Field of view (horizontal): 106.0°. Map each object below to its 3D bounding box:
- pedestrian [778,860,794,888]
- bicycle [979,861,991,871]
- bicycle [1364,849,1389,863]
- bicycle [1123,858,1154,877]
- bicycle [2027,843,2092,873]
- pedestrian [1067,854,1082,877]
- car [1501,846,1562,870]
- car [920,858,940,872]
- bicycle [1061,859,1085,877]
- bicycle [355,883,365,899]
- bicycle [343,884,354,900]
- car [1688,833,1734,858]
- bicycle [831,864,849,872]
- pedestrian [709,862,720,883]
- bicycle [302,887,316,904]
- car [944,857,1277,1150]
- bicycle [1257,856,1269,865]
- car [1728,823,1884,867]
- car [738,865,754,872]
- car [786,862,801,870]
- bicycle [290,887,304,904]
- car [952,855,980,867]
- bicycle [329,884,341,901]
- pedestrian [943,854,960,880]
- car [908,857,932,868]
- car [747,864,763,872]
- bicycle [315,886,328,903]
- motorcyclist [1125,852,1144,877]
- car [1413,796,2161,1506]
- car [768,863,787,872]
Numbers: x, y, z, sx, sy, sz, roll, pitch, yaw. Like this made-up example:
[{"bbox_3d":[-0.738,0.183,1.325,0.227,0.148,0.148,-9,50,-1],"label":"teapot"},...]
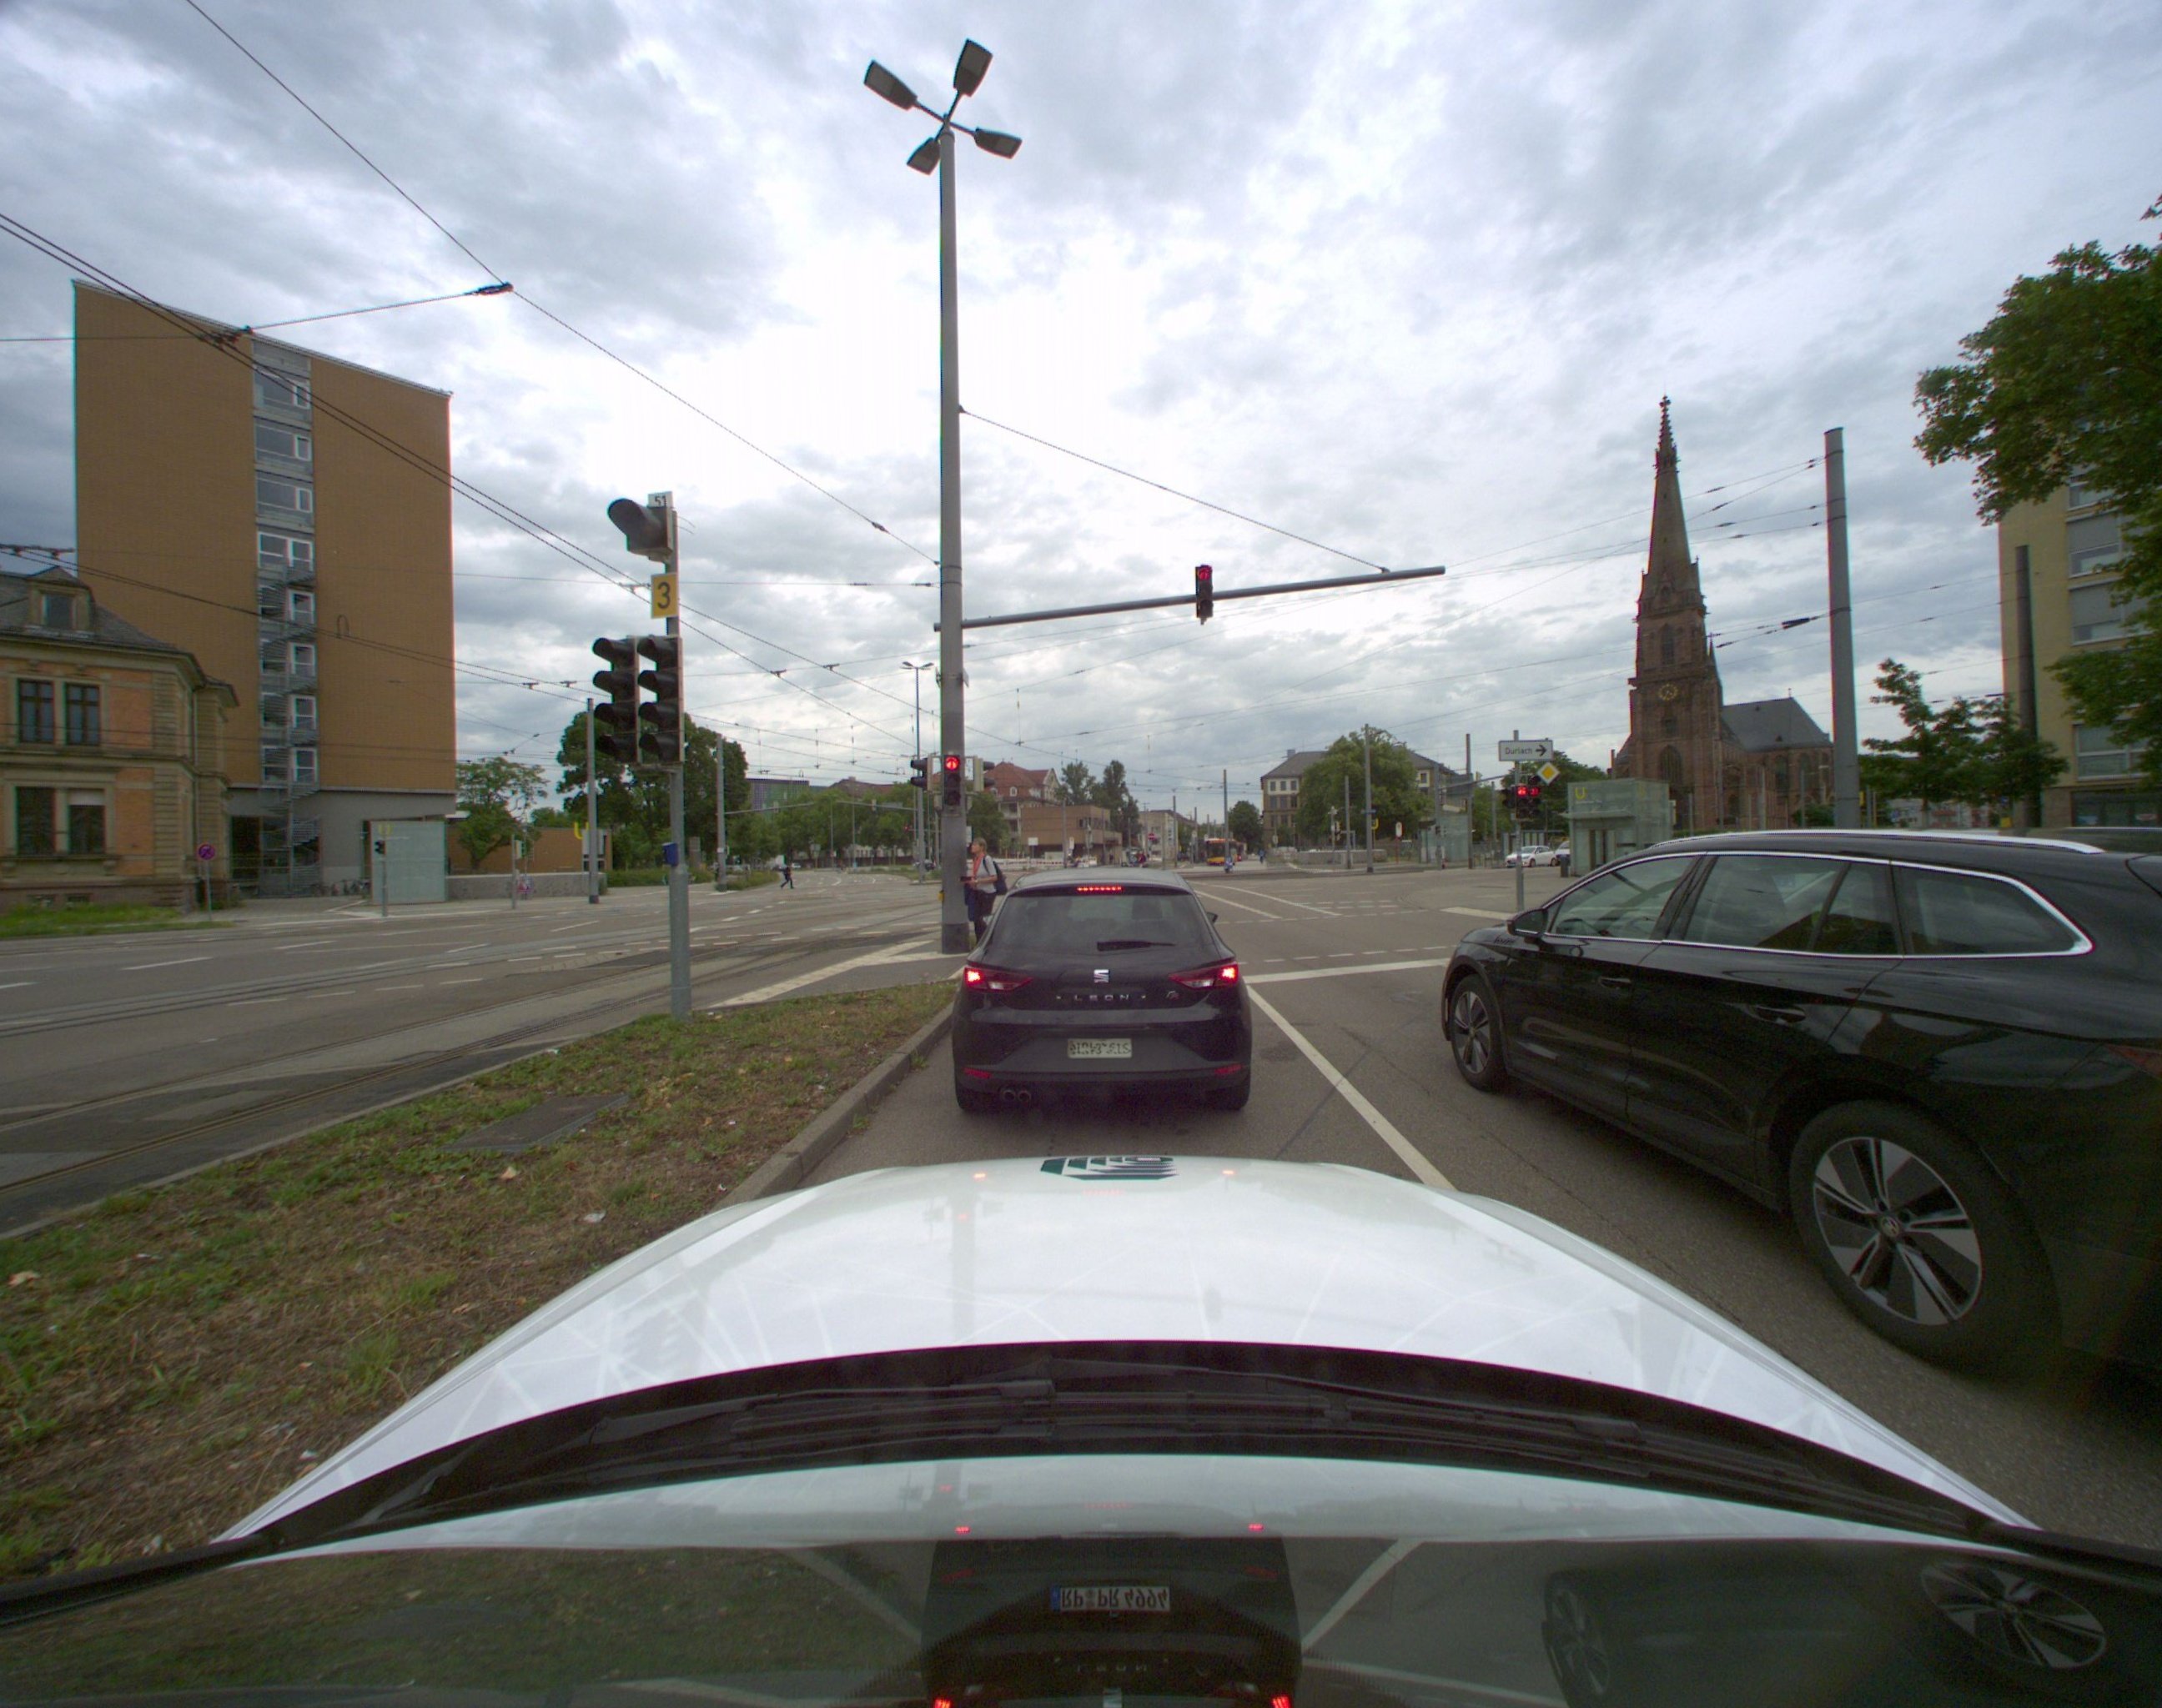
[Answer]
[{"bbox_3d":[-21.312,1.426,58.811,1.023,2.013,0.841,-1,0,-18],"label":"pedestrian"},{"bbox_3d":[-11.578,1.466,97.829,0.895,1.178,2.287,-1,0,-20],"label":"bicycle"},{"bbox_3d":[29.659,0.174,81.731,2.248,1.331,0.709,-2,-2,9],"label":"bicycle"},{"bbox_3d":[3.680,0.867,52.099,2.044,1.184,0.768,-1,0,-44],"label":"bicycle"},{"bbox_3d":[31.512,0.134,26.236,0.596,0.917,1.253,-1,0,-28],"label":"bicycle"},{"bbox_3d":[-0.543,0.961,68.072,0.692,1.934,1.037,-2,0,40],"label":"pedestrian"},{"bbox_3d":[30.358,0.263,54.846,4.011,1.464,1.758,-1,-2,-30],"label":"car"},{"bbox_3d":[-19.568,1.376,105.425,2.000,1.684,3.973,-1,-1,-20],"label":"car"},{"bbox_3d":[-0.592,1.043,61.883,1.739,1.321,0.640,-1,0,-26],"label":"bicycle"},{"bbox_3d":[-50.236,2.596,56.723,0.484,1.049,1.411,-1,0,-41],"label":"bicycle"},{"bbox_3d":[-50.649,2.626,56.284,0.512,1.049,1.411,-1,0,-41],"label":"bicycle"},{"bbox_3d":[53.572,-0.737,69.198,4.017,2.013,1.978,-1,0,-36],"label":"car"},{"bbox_3d":[-37.096,2.190,125.383,0.930,1.179,2.747,-2,0,30],"label":"bicycle"},{"bbox_3d":[-35.664,1.811,79.230,0.799,1.981,0.872,-1,-2,-33],"label":"pedestrian"},{"bbox_3d":[-52.084,2.775,54.958,0.575,1.106,1.411,-1,0,-41],"label":"bicycle"},{"bbox_3d":[0.096,0.772,6.111,1.700,1.449,3.809,-1,0,-2],"label":"car"},{"bbox_3d":[21.892,0.748,97.924,0.863,1.104,2.299,-1,0,-3],"label":"bicycle"},{"bbox_3d":[37.662,-0.401,42.523,5.672,2.014,2.038,-2,-2,19],"label":"car"},{"bbox_3d":[-73.822,3.091,179.401,3.949,1.464,1.792,-1,0,43],"label":"car"},{"bbox_3d":[-58.688,2.403,166.210,1.791,1.464,3.954,-1,0,-39],"label":"car"},{"bbox_3d":[-52.534,2.788,54.553,0.575,1.106,1.411,-1,0,-41],"label":"bicycle"},{"bbox_3d":[-17.443,1.063,123.662,3.970,1.684,2.001,-2,-1,3],"label":"car"},{"bbox_3d":[-51.153,2.636,55.840,0.575,1.106,1.411,-1,0,-41],"label":"bicycle"},{"bbox_3d":[-9.910,1.013,62.290,1.032,1.934,0.695,-2,0,-24],"label":"pedestrian"},{"bbox_3d":[-28.105,1.503,142.157,3.999,1.772,1.705,-1,0,-19],"label":"car"},{"bbox_3d":[-68.756,2.939,171.593,1.792,1.464,3.951,-1,0,-44],"label":"car"},{"bbox_3d":[-51.637,2.776,55.363,0.575,1.106,1.411,-1,0,-41],"label":"bicycle"},{"bbox_3d":[3.646,0.714,55.616,0.984,1.649,0.742,-1,-1,-31],"label":"motorcyclist"},{"bbox_3d":[3.329,0.651,3.774,1.771,1.597,4.510,-1,0,1],"label":"car"},{"bbox_3d":[-53.945,2.398,144.734,1.792,1.464,3.950,-1,0,-45],"label":"car"}]
